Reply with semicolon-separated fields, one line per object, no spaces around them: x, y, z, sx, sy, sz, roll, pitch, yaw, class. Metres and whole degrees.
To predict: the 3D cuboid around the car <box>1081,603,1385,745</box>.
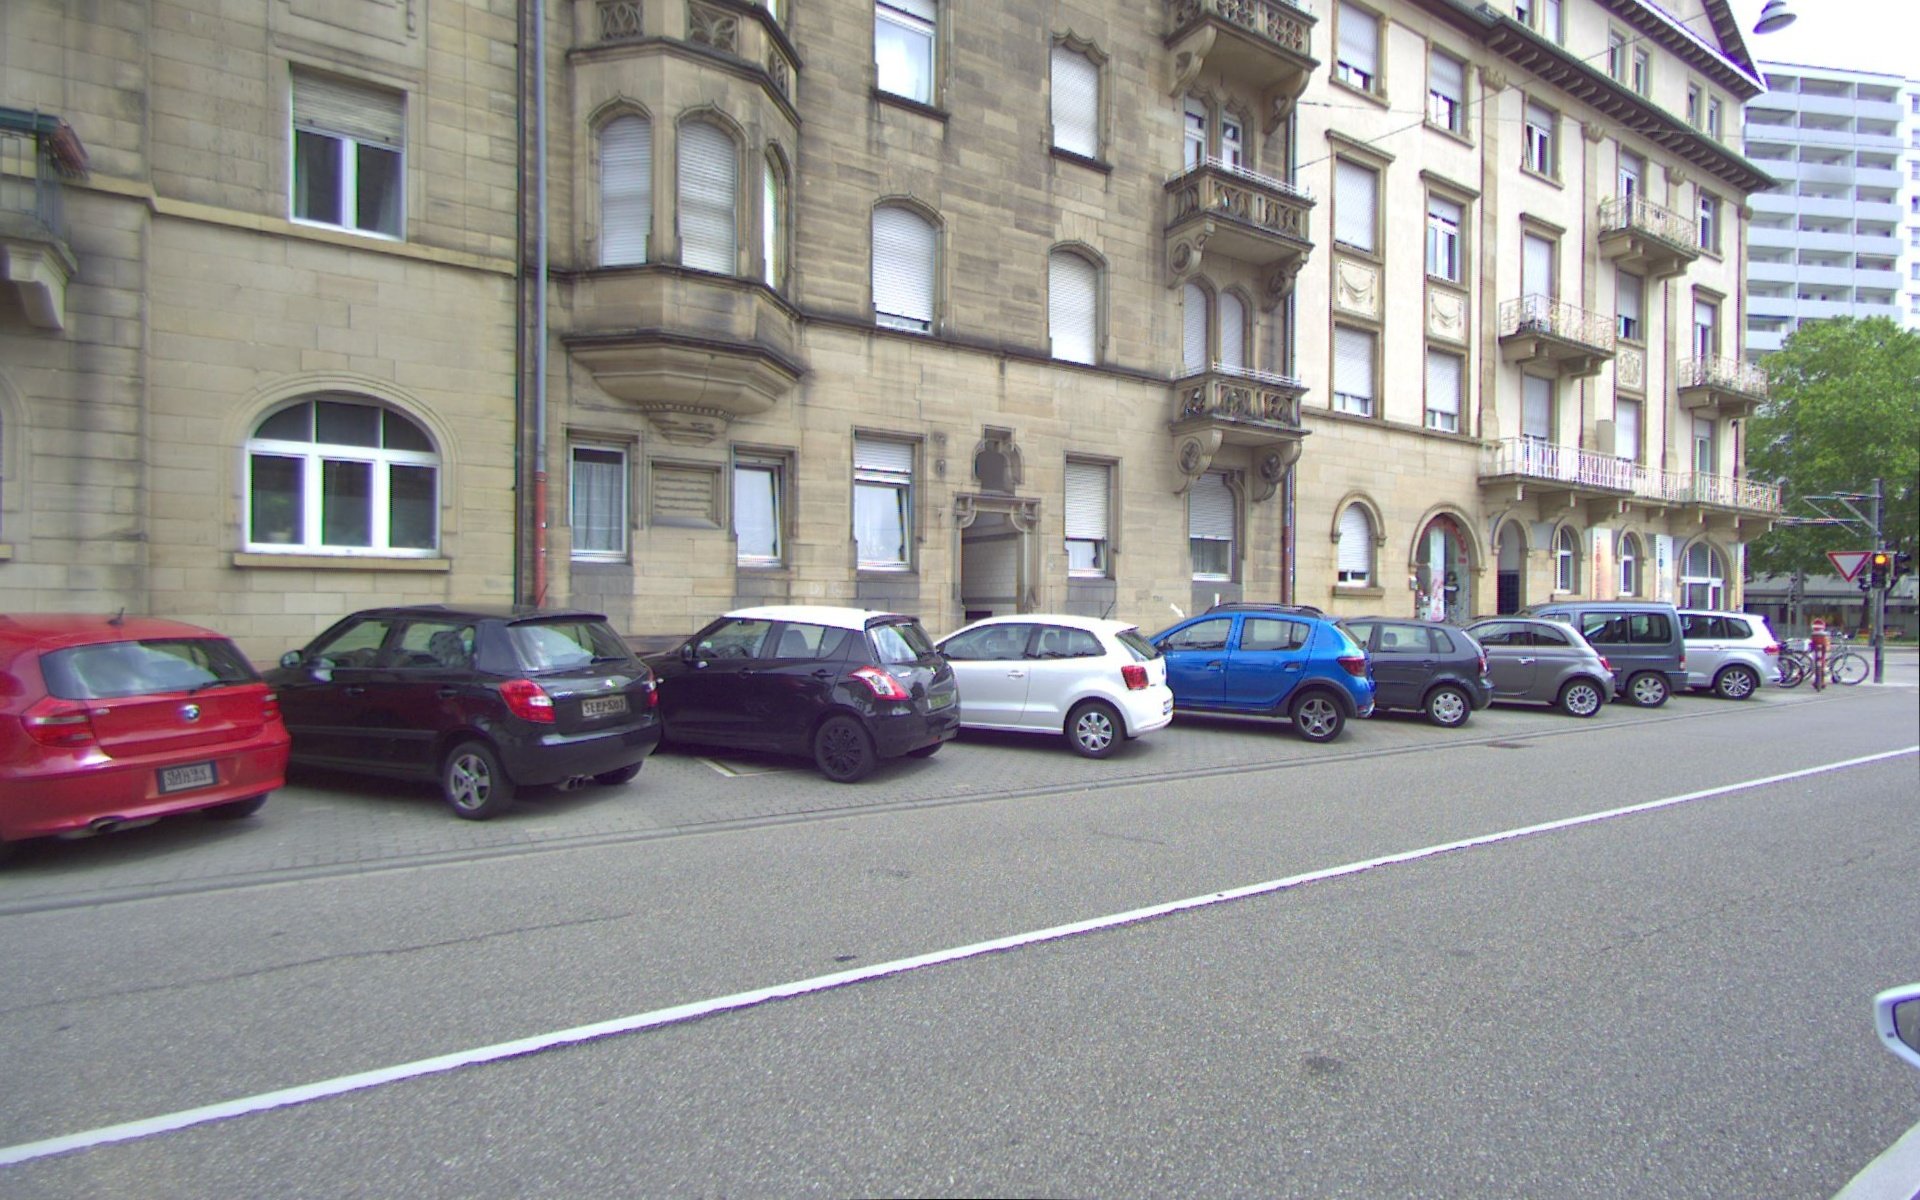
3.629;0.891;13.387;3.705;1.674;1.724;0;0;22;car

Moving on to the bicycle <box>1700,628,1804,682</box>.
18.562;1.260;23.572;0.589;1.135;1.794;1;1;-39;bicycle

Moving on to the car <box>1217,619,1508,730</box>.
5.948;1.035;15.100;3.828;1.463;1.836;0;-1;22;car

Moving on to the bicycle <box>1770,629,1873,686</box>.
19.988;1.320;23.353;0.489;1.182;1.877;1;1;-11;bicycle

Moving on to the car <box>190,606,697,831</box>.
-4.301;0.819;8.360;3.920;1.523;1.631;0;-1;23;car

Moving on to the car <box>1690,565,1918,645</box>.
45.534;0.322;54.816;3.391;3.967;9.906;0;-1;-7;car

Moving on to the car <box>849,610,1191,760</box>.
0.719;0.880;11.683;3.614;1.501;1.741;0;-1;22;car

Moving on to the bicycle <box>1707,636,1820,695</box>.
16.884;1.353;21.158;0.586;1.135;1.804;1;-1;-25;bicycle

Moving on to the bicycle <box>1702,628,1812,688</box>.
17.754;1.274;22.410;0.589;1.182;1.794;1;1;-39;bicycle

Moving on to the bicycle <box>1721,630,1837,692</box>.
17.469;1.275;21.475;0.587;1.135;1.802;1;3;-28;bicycle

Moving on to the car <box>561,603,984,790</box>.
-1.912;0.831;10.187;3.937;1.585;1.795;0;-1;26;car

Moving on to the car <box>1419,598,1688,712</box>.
10.639;0.933;18.344;3.933;1.904;1.797;0;0;19;car

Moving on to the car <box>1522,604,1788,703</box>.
13.426;0.984;19.687;3.933;1.797;1.797;0;0;19;car

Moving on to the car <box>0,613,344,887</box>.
-6.453;0.813;6.743;3.932;1.428;1.797;0;-1;17;car

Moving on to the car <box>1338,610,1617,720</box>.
8.459;1.010;16.836;3.933;1.674;1.797;0;0;19;car

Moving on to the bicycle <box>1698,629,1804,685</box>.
18.091;1.292;23.019;0.589;1.135;1.794;1;1;-39;bicycle
